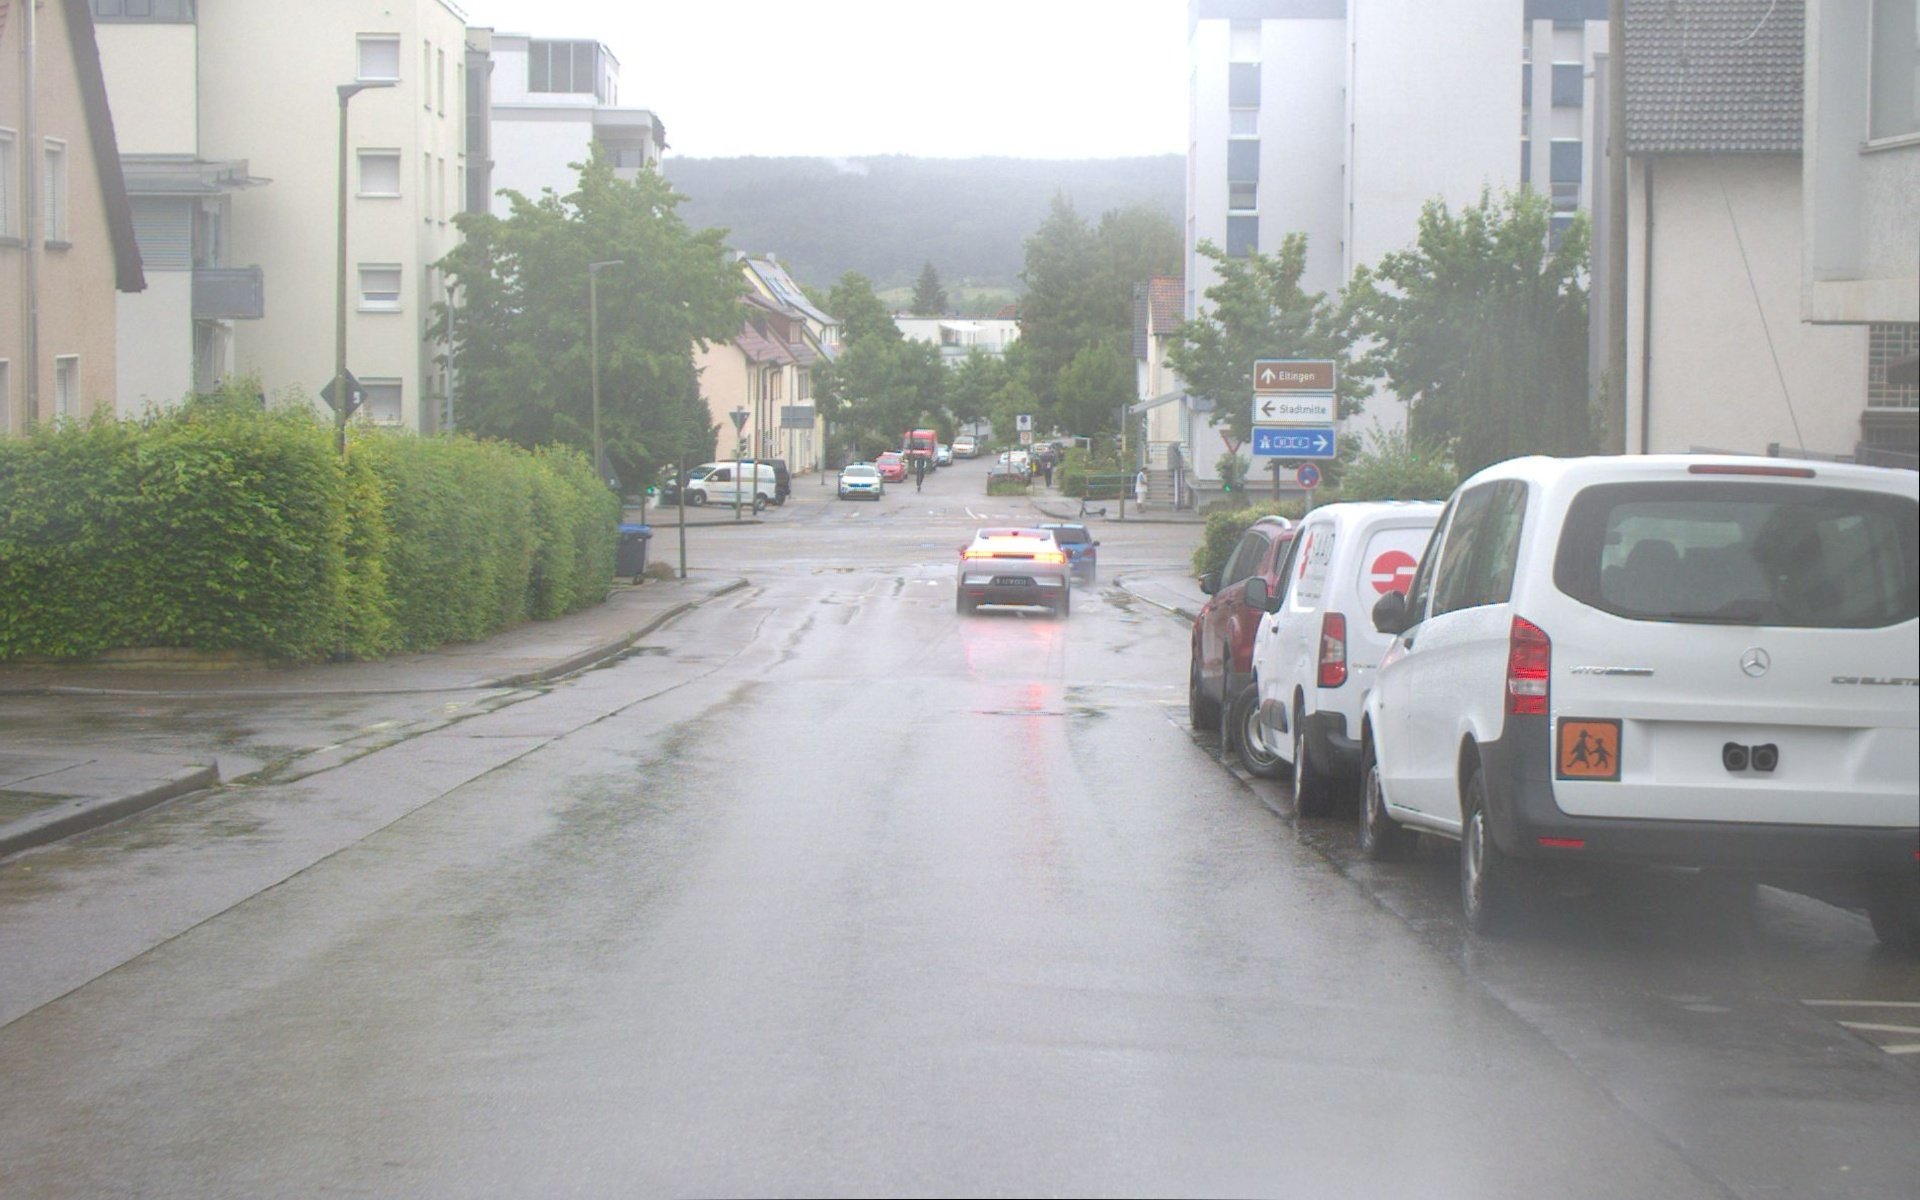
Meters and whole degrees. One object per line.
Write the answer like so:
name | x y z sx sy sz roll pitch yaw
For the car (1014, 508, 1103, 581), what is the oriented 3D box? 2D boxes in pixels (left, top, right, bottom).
car | 2.457 -1.417 86.711 1.993 1.678 4.001 -1 3 -2

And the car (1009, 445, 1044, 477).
car | 3.717 -7.801 192.809 1.901 1.739 4.192 -1 3 1

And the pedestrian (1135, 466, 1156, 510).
pedestrian | 6.971 -4.214 129.284 0.647 1.641 0.526 3 2 -6

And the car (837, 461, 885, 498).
car | -4.507 -5.534 157.367 1.993 1.620 4.192 -1 3 1

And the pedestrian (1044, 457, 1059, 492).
pedestrian | 4.783 -6.565 179.899 0.745 1.842 0.526 0 3 -6

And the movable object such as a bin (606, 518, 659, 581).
movable object such as a bin | -7.356 -1.139 77.198 1.071 1.343 1.319 2 2 -2

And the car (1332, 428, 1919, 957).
car | 2.886 0.278 15.046 1.993 1.928 4.976 0 1 0

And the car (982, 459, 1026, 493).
car | 2.204 -6.170 171.060 2.146 1.583 4.128 -1 3 1

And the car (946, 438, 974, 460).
car | -0.001 -10.713 243.914 1.901 1.553 4.192 -1 3 1

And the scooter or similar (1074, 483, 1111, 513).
scooter or similar | 4.926 -3.810 127.972 1.268 1.077 0.877 -1 3 -4

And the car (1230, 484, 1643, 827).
car | 2.731 0.243 20.683 1.878 1.827 4.489 0 1 0

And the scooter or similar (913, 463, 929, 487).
scooter or similar | -1.980 -6.323 173.833 0.757 1.167 1.314 -1 3 -4

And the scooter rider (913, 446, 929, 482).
scooter rider | -1.990 -6.864 173.753 0.752 1.789 0.673 -1 3 -3

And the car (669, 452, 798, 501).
car | -9.044 -4.959 137.602 4.830 1.829 2.000 -3 4 -38

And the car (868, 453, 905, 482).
car | -4.118 -7.483 193.786 1.901 1.553 4.192 -1 3 1

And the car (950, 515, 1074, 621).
car | 0.889 -0.601 60.928 1.993 1.678 4.001 -1 3 -2

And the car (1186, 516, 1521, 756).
car | 2.860 0.187 26.055 1.993 1.638 4.959 0 1 0
